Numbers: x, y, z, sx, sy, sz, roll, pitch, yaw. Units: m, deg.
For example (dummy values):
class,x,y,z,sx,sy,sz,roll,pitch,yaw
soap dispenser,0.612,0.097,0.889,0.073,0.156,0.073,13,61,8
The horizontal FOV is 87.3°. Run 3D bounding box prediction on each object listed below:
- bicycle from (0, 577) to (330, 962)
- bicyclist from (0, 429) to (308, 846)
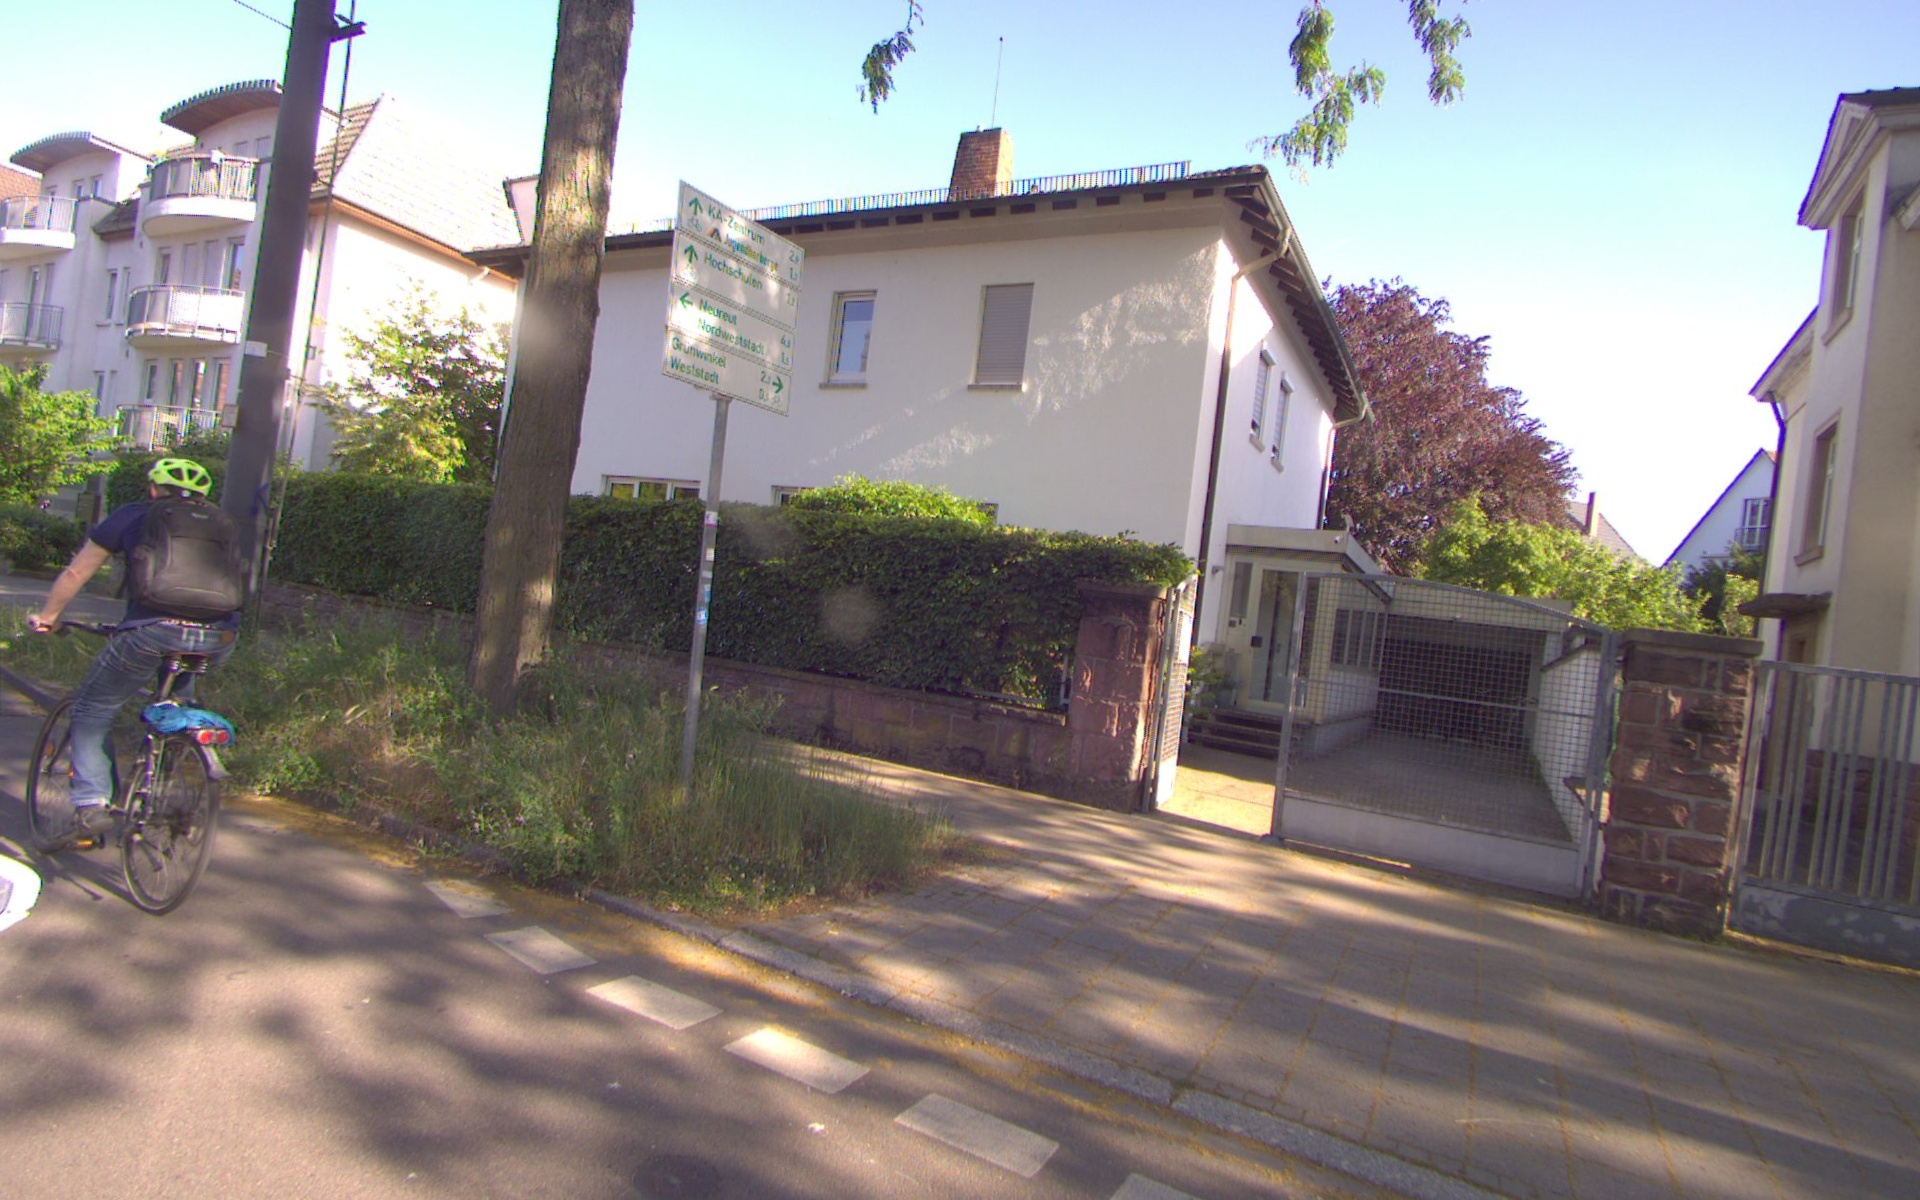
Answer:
class,x,y,z,sx,sy,sz,roll,pitch,yaw
bicycle,-3.499,0.582,4.170,1.870,1.157,0.643,7,0,32
bicyclist,-3.423,0.115,4.173,1.096,1.505,0.645,6,-1,32
